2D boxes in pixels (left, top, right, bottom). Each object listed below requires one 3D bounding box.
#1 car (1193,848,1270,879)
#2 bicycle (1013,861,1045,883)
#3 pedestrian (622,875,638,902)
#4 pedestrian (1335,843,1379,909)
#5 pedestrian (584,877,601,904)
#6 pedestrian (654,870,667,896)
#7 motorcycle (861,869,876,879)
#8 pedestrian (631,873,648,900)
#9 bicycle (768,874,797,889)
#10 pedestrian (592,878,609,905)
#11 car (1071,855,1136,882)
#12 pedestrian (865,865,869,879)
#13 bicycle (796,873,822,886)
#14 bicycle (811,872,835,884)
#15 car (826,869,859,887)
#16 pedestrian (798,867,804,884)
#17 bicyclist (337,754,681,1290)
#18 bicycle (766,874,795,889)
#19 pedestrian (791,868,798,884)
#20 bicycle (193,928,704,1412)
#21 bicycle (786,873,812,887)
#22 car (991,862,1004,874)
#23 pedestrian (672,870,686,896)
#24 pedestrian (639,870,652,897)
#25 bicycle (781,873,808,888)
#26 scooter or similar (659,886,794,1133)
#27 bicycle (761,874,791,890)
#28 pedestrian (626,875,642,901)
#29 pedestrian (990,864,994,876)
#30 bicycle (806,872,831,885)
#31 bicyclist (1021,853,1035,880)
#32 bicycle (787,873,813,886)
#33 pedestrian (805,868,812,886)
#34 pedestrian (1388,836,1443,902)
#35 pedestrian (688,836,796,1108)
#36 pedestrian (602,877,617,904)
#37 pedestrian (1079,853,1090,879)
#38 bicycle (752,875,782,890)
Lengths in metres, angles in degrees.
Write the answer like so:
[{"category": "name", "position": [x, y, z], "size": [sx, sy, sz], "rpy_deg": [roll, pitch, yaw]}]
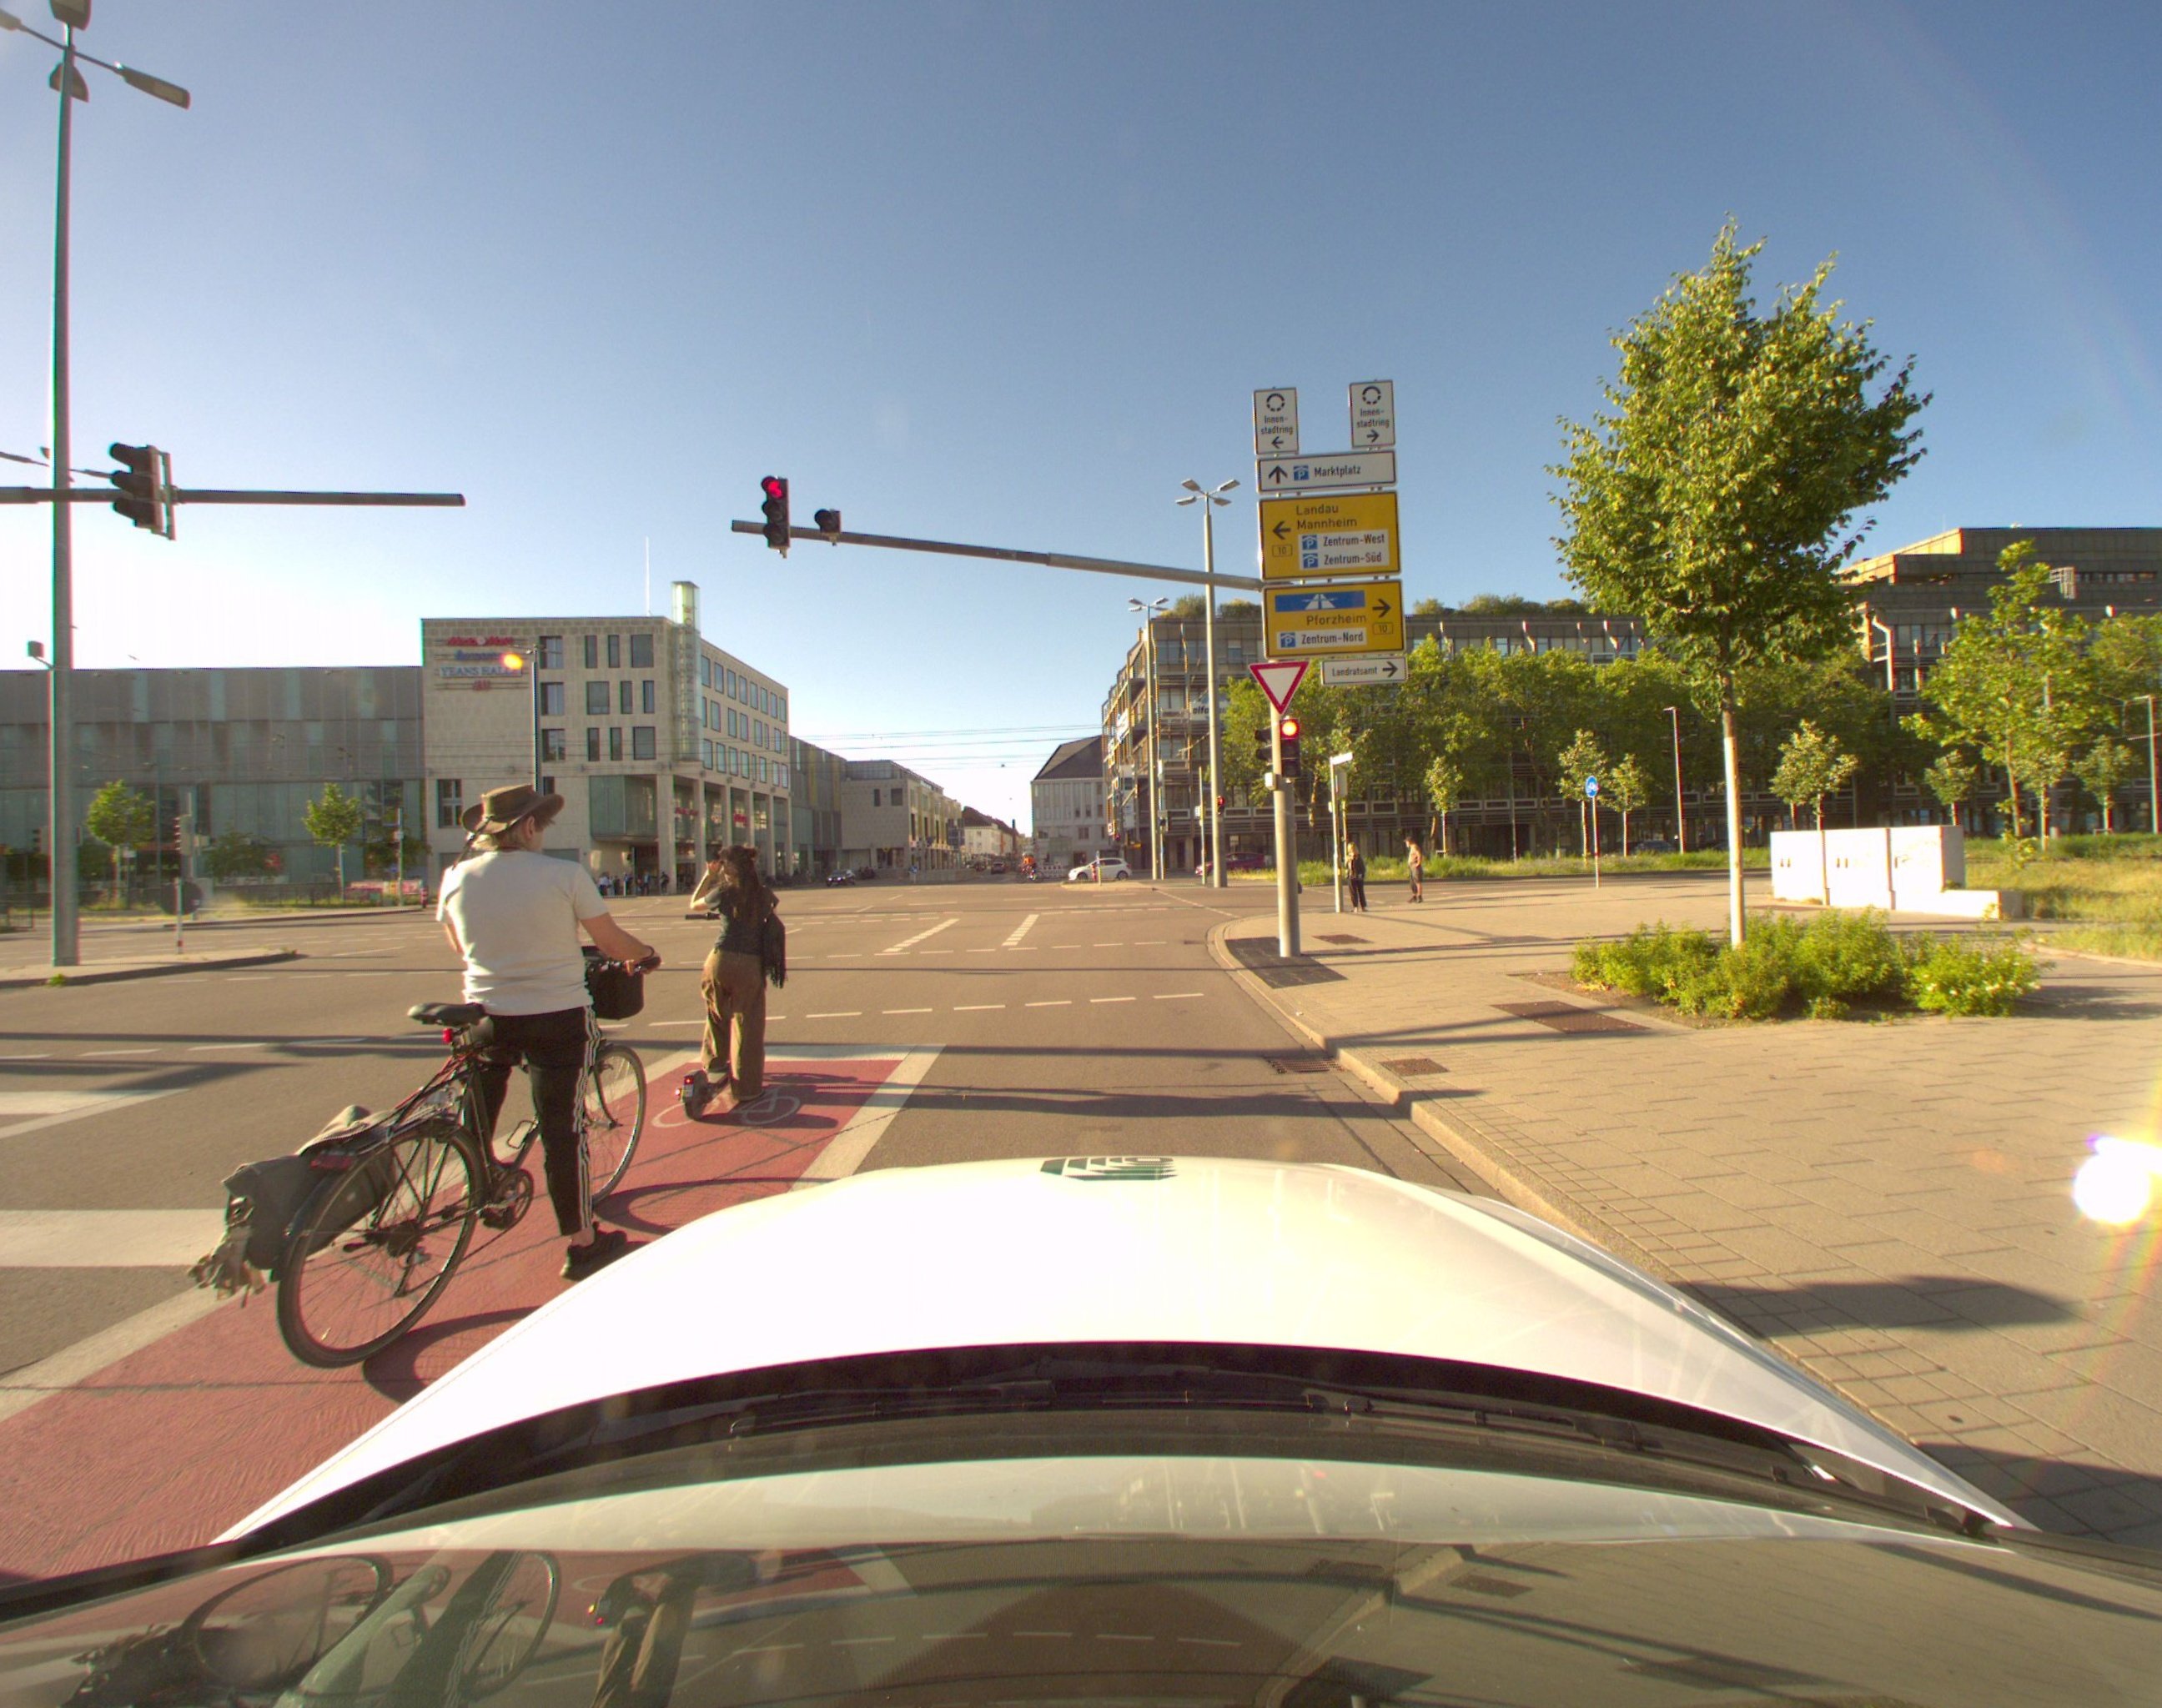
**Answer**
[{"category": "car", "position": [8.386, 0.519, 45.575], "size": [3.879, 1.585, 1.656], "rpy_deg": [-2, -1, -5]}, {"category": "bicycle", "position": [-2.790, 0.953, 43.874], "size": [1.648, 1.154, 0.494], "rpy_deg": [0, -1, -16]}, {"category": "pedestrian", "position": [-31.946, 2.457, 57.688], "size": [0.783, 1.885, 0.716], "rpy_deg": [0, -1, -4]}, {"category": "pedestrian", "position": [6.310, 0.500, 18.652], "size": [0.785, 1.492, 0.644], "rpy_deg": [0, -1, 1]}, {"category": "pedestrian", "position": [-35.017, 2.603, 58.366], "size": [0.783, 1.885, 0.716], "rpy_deg": [0, -1, -4]}, {"category": "pedestrian", "position": [-30.792, 2.124, 59.662], "size": [0.800, 1.843, 0.856], "rpy_deg": [-2, 0, -26]}, {"category": "motorcycle", "position": [-25.782, 2.438, 98.735], "size": [1.807, 1.206, 0.509], "rpy_deg": [0, 0, -14]}, {"category": "pedestrian", "position": [-32.660, 2.394, 60.225], "size": [0.883, 2.014, 0.771], "rpy_deg": [0, -1, -9]}, {"category": "bicycle", "position": [-26.740, 2.443, 72.892], "size": [2.299, 1.222, 0.612], "rpy_deg": [-2, -1, -1]}, {"category": "pedestrian", "position": [-33.868, 2.619, 57.369], "size": [0.783, 1.885, 0.716], "rpy_deg": [0, -1, -4]}, {"category": "car", "position": [1.375, 0.896, 50.670], "size": [3.892, 1.585, 1.656], "rpy_deg": [0, -1, -5]}, {"category": "pedestrian", "position": [-26.102, 2.199, 99.351], "size": [0.521, 1.679, 0.580], "rpy_deg": [0, 0, -12]}, {"category": "bicycle", "position": [-27.185, 2.516, 81.339], "size": [2.299, 1.222, 0.612], "rpy_deg": [-2, -1, -1]}, {"category": "bicycle", "position": [-27.424, 2.562, 86.643], "size": [2.299, 1.222, 0.612], "rpy_deg": [-2, -1, -1]}, {"category": "car", "position": [-20.625, 2.056, 70.503], "size": [1.625, 1.342, 3.999], "rpy_deg": [-4, -1, 0]}, {"category": "pedestrian", "position": [-29.163, 2.242, 84.820], "size": [0.553, 1.679, 0.606], "rpy_deg": [0, 0, -8]}, {"category": "bicyclist", "position": [-2.055, 0.543, 3.058], "size": [0.658, 1.720, 0.866], "rpy_deg": [0, -1, 1]}, {"category": "bicycle", "position": [-26.565, 2.434, 72.007], "size": [2.299, 1.222, 0.612], "rpy_deg": [-2, -1, -1]}, {"category": "pedestrian", "position": [-29.793, 2.262, 84.603], "size": [0.570, 1.679, 0.614], "rpy_deg": [0, 0, -8]}, {"category": "bicycle", "position": [-2.147, 0.943, 3.135], "size": [0.483, 1.156, 1.832], "rpy_deg": [0, -1, 2]}, {"category": "bicycle", "position": [-27.063, 2.489, 78.127], "size": [2.299, 1.222, 0.612], "rpy_deg": [-2, -1, -1]}, {"category": "car", "position": [-11.138, 1.865, 108.652], "size": [1.735, 1.531, 3.848], "rpy_deg": [0, -1, -5]}, {"category": "pedestrian", "position": [-29.106, 2.071, 58.936], "size": [0.801, 1.843, 0.855], "rpy_deg": [-2, 0, -30]}, {"category": "pedestrian", "position": [-31.163, 2.108, 58.280], "size": [0.718, 1.885, 0.781], "rpy_deg": [0, -1, -25]}, {"category": "bicycle", "position": [-26.697, 2.468, 75.959], "size": [2.299, 1.222, 0.612], "rpy_deg": [-2, -1, -1]}, {"category": "scooter or similar", "position": [-2.155, 0.871, 5.071], "size": [0.547, 1.294, 1.188], "rpy_deg": [0, -1, -13]}, {"category": "bicycle", "position": [-26.462, 2.422, 70.647], "size": [2.299, 1.222, 0.612], "rpy_deg": [-2, -1, -1]}, {"category": "pedestrian", "position": [-32.512, 2.474, 59.239], "size": [0.783, 1.885, 0.716], "rpy_deg": [0, -1, -4]}, {"category": "pedestrian", "position": [-12.806, 2.248, 117.319], "size": [0.520, 1.679, 0.582], "rpy_deg": [0, 0, -5]}, {"category": "bicycle", "position": [-27.588, 2.555, 85.577], "size": [2.299, 1.222, 0.612], "rpy_deg": [-2, -1, -1]}, {"category": "bicyclist", "position": [-2.856, 0.665, 43.857], "size": [0.712, 1.437, 0.494], "rpy_deg": [0, -1, -16]}, {"category": "bicycle", "position": [-27.629, 2.510, 80.122], "size": [2.299, 1.222, 0.612], "rpy_deg": [-2, -1, -1]}, {"category": "pedestrian", "position": [-27.554, 2.313, 82.315], "size": [0.650, 1.719, 0.447], "rpy_deg": [-2, 0, -22]}, {"category": "pedestrian", "position": [8.639, 0.376, 21.046], "size": [0.881, 1.665, 0.958], "rpy_deg": [0, -1, -19]}, {"category": "pedestrian", "position": [-2.161, 0.706, 5.240], "size": [0.549, 1.633, 0.569], "rpy_deg": [0, -1, -13]}, {"category": "pedestrian", "position": [-33.991, 2.631, 58.716], "size": [0.714, 1.885, 0.786], "rpy_deg": [0, -1, -6]}, {"category": "pedestrian", "position": [0.243, 0.850, 59.661], "size": [0.637, 1.890, 0.794], "rpy_deg": [-1, -1, 16]}, {"category": "bicycle", "position": [-26.734, 2.413, 69.370], "size": [2.299, 1.222, 0.612], "rpy_deg": [-2, -1, -1]}]
